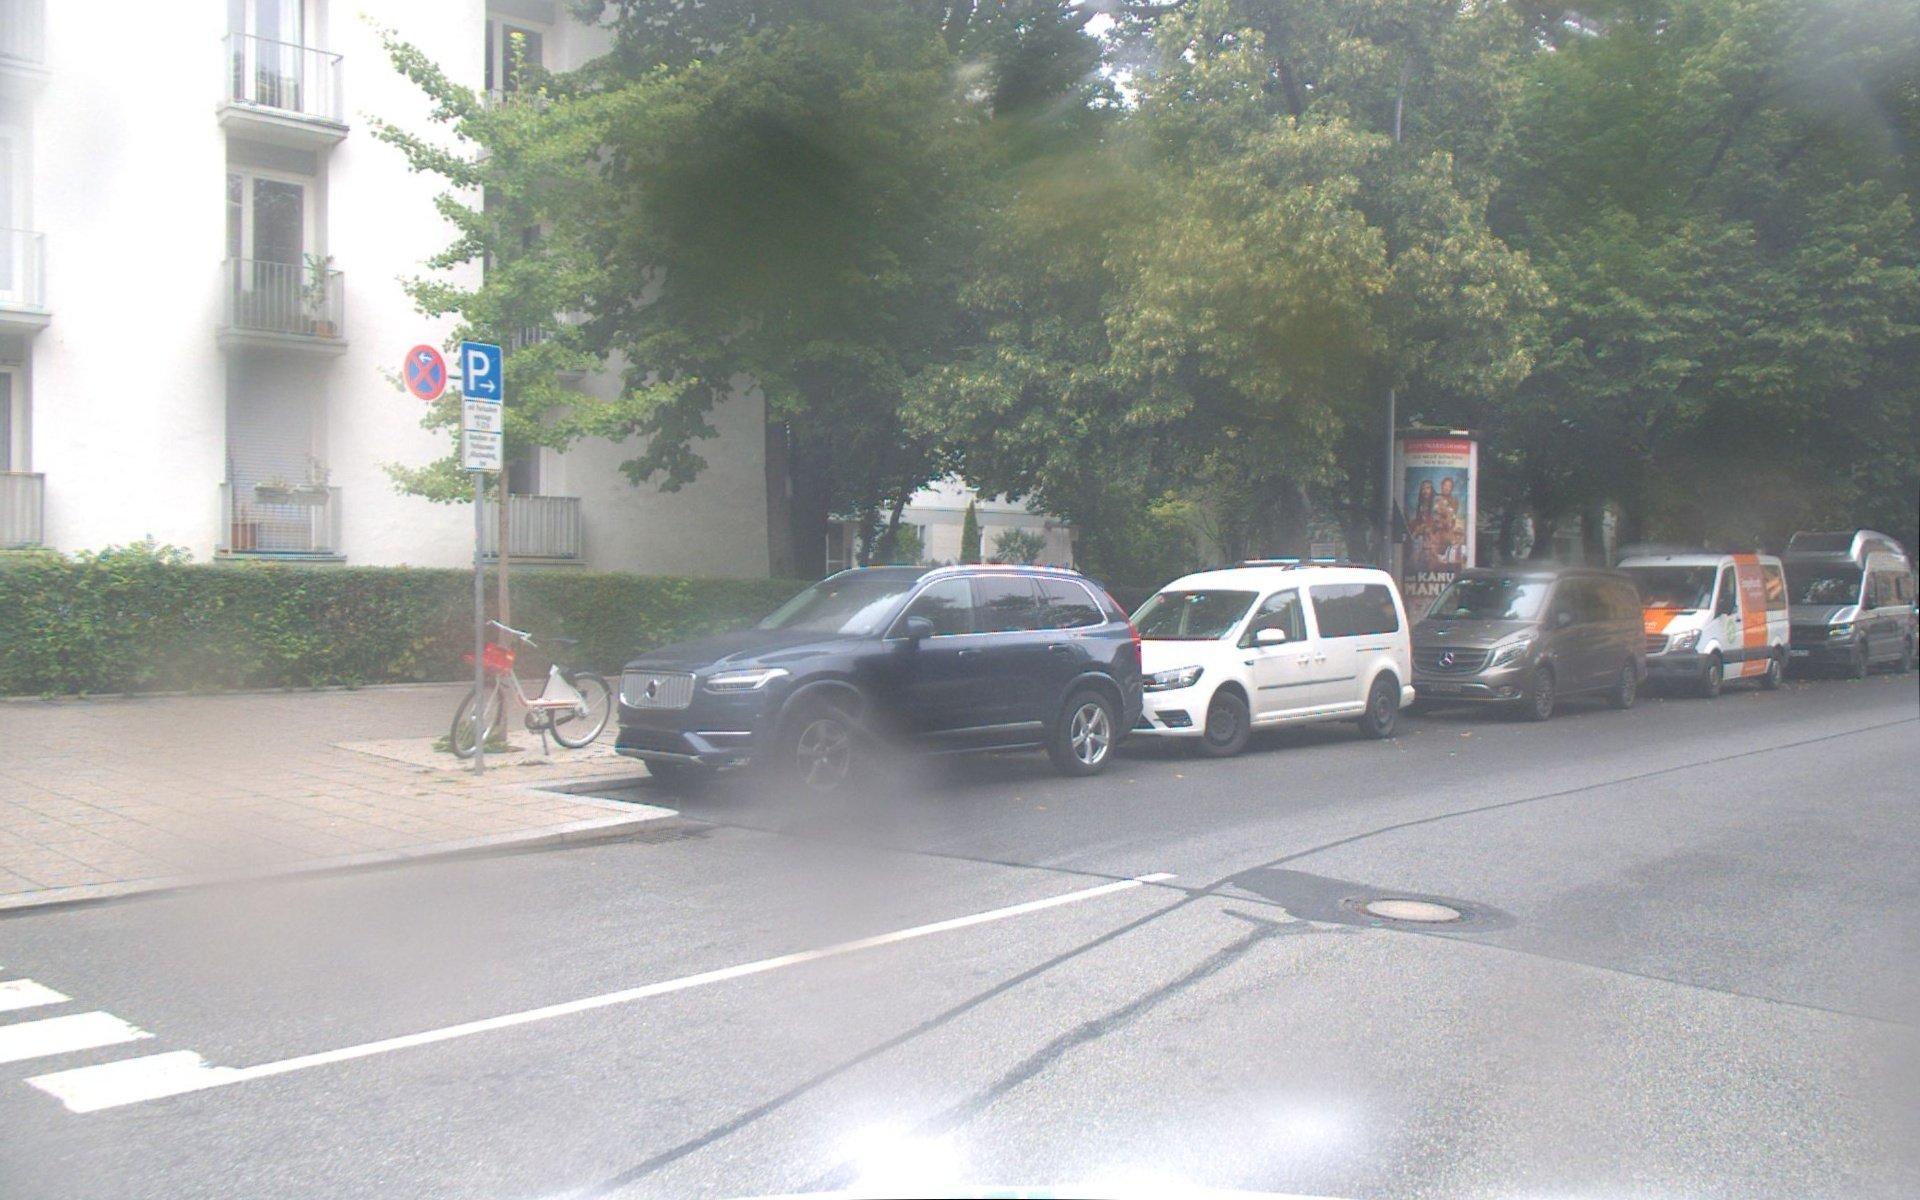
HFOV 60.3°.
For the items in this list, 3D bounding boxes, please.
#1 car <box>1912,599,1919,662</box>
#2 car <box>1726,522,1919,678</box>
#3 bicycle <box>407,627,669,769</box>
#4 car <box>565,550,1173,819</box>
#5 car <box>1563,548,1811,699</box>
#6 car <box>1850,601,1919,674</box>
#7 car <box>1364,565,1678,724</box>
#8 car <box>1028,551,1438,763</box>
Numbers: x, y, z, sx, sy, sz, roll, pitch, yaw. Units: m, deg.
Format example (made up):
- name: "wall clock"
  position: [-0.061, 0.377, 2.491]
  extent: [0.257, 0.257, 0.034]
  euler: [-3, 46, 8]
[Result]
- name: "car"
  position: [26.018, 0.792, 42.426]
  extent: [1.870, 1.565, 4.046]
  euler: [1, 1, 44]
- name: "car"
  position: [18.472, -0.019, 34.675]
  extent: [2.304, 2.973, 6.531]
  euler: [1, 1, 45]
- name: "bicycle"
  position: [-3.526, 0.784, 13.936]
  extent: [1.956, 1.070, 0.899]
  euler: [1, 1, -44]
- name: "car"
  position: [-0.560, 0.551, 13.532]
  extent: [2.037, 1.798, 4.871]
  euler: [1, 1, 45]
- name: "car"
  position: [12.260, 0.341, 27.702]
  extent: [2.083, 2.290, 5.157]
  euler: [1, 1, 45]
- name: "car"
  position: [22.620, 0.851, 38.920]
  extent: [1.870, 1.598, 4.280]
  euler: [1, 1, 44]
- name: "car"
  position: [7.626, 0.520, 22.202]
  extent: [2.037, 1.891, 4.950]
  euler: [1, 1, 45]
- name: "car"
  position: [3.023, 0.509, 17.482]
  extent: [1.899, 1.928, 4.835]
  euler: [1, 1, 43]
